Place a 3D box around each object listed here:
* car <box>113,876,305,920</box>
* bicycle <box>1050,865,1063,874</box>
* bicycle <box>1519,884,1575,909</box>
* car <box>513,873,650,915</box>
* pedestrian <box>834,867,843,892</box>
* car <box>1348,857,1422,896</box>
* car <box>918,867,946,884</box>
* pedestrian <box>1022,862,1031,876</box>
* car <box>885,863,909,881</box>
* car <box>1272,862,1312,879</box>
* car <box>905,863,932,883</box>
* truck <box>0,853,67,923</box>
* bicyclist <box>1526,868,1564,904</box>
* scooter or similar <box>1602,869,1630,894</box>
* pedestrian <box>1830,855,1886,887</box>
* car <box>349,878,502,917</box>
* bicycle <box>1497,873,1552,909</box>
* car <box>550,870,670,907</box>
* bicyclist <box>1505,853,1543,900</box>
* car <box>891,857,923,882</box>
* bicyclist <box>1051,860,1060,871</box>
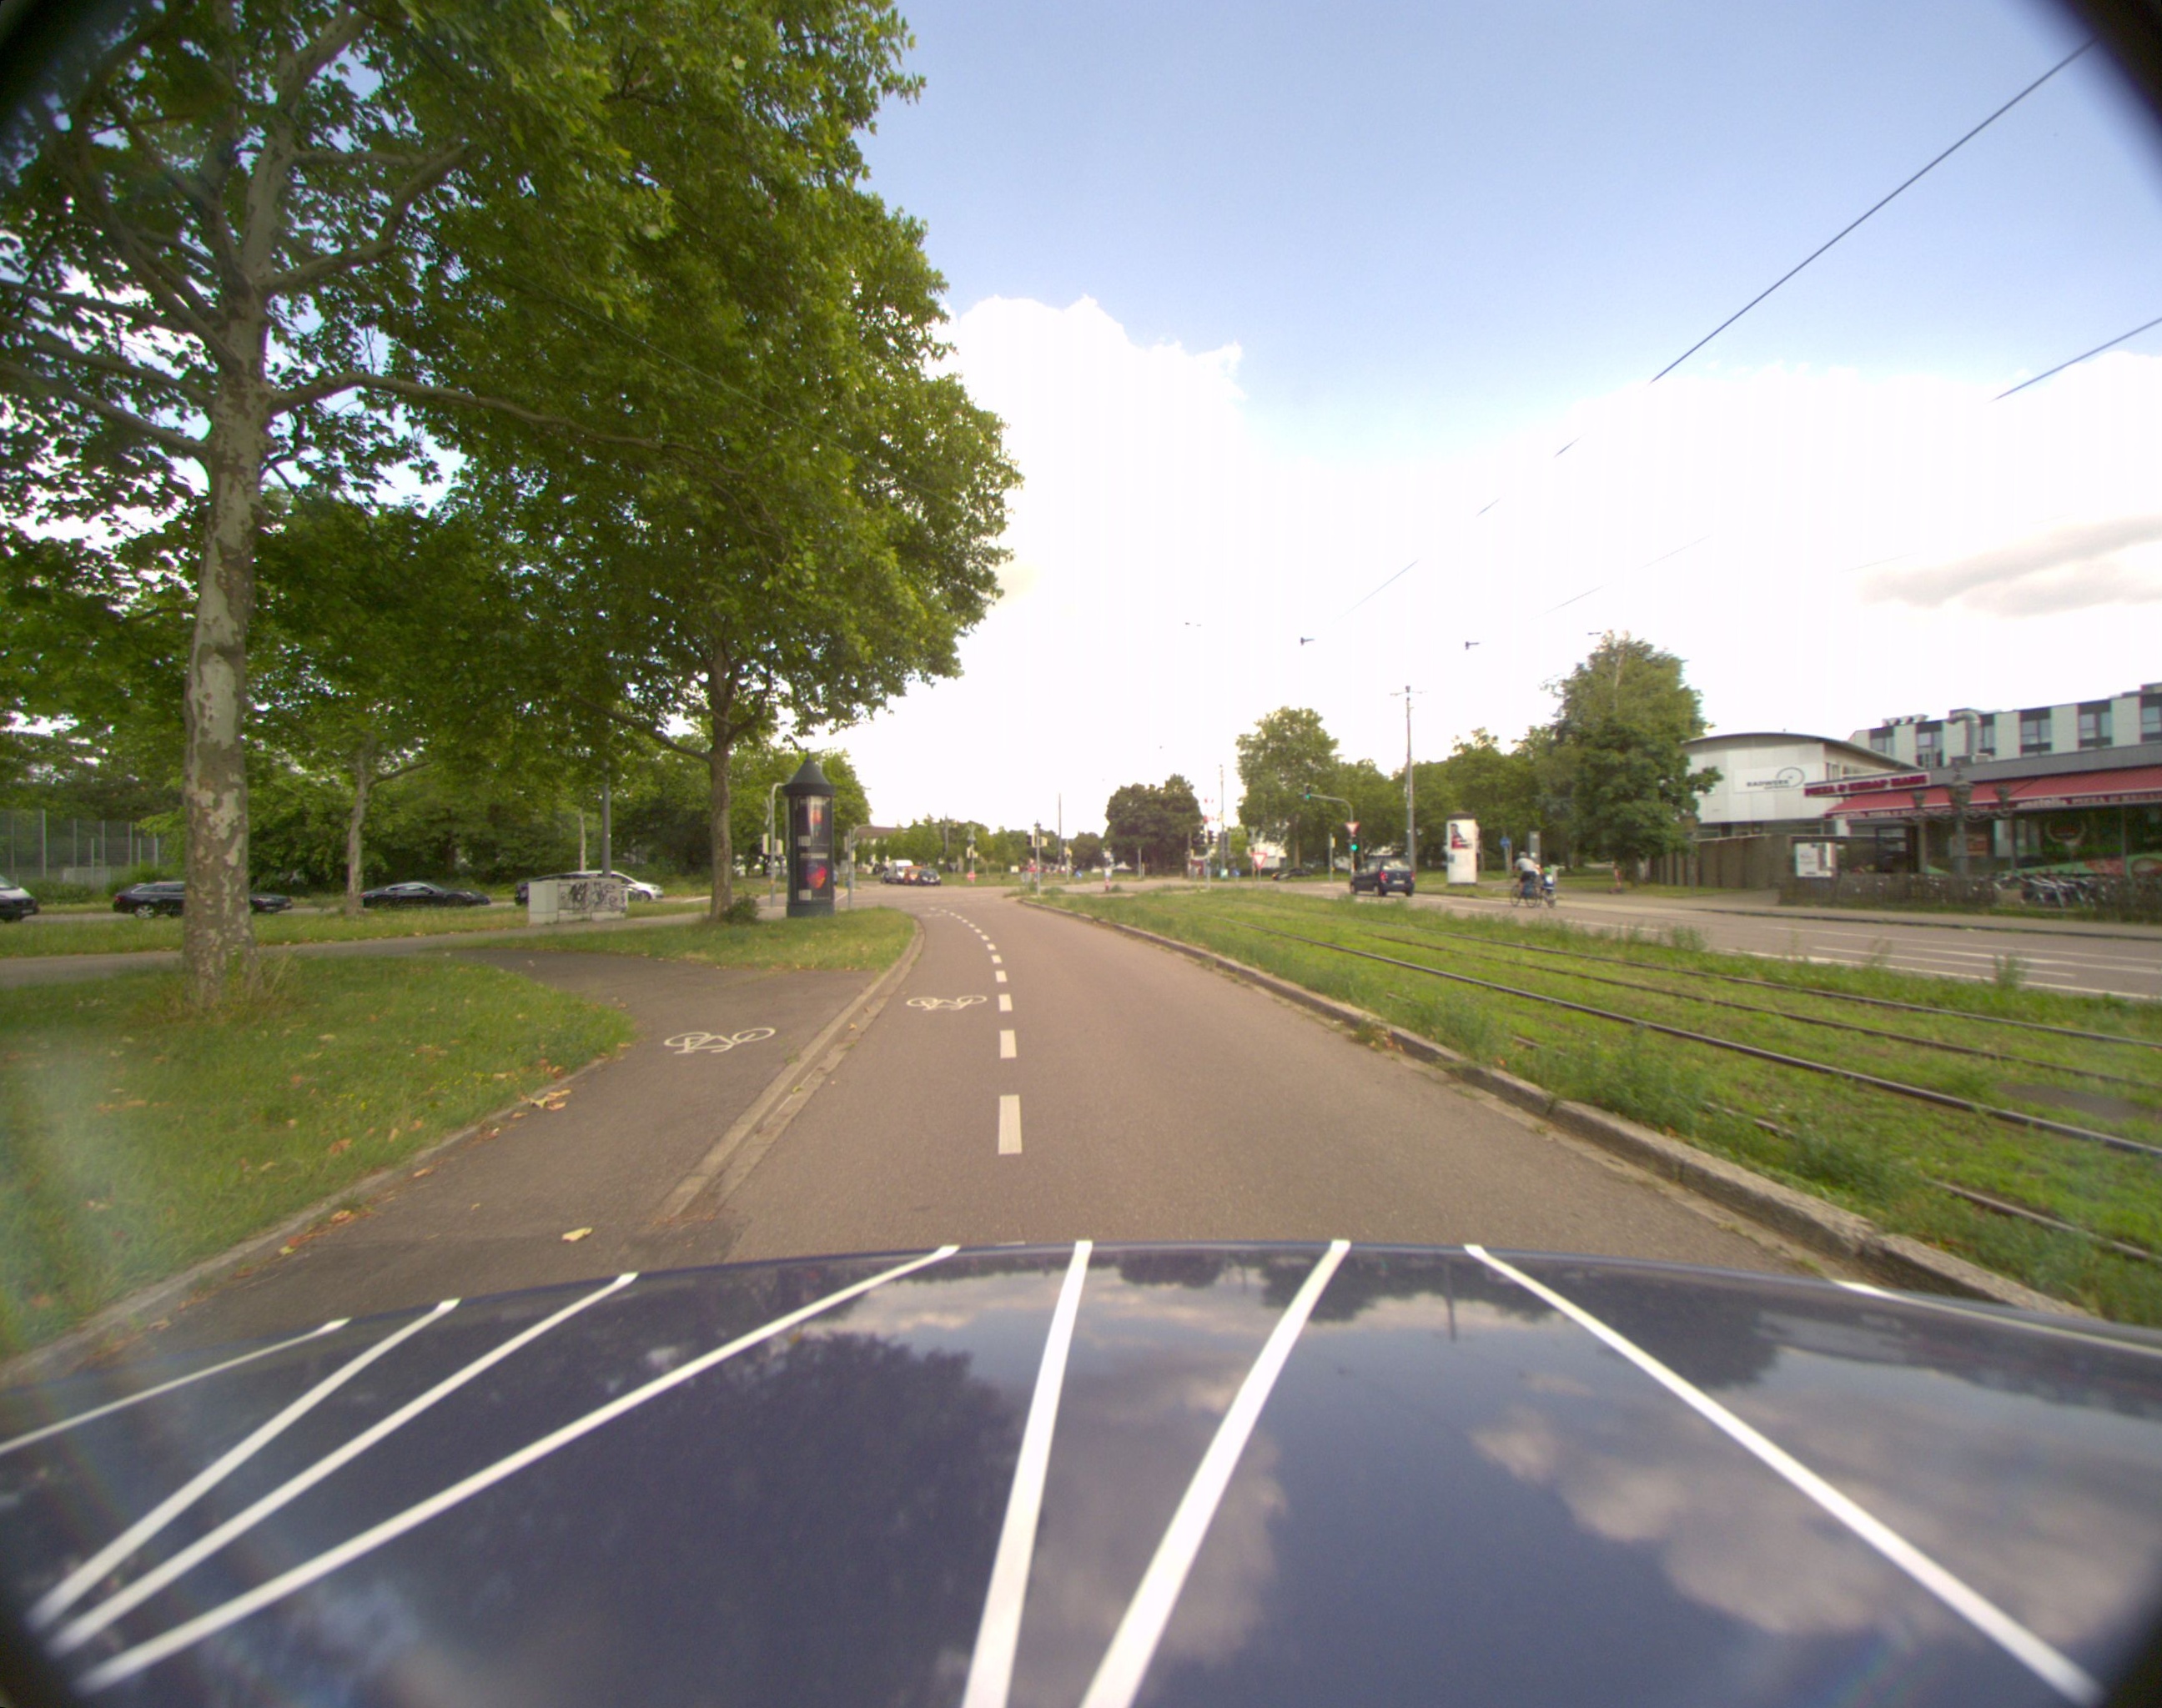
[{"bbox_3d":[-35.329,1.736,30.989,4.693,1.504,1.996,-1,0,-25],"label":"car"},{"bbox_3d":[-3.210,2.007,99.118,0.806,1.053,2.065,-1,-2,-29],"label":"bicycle"},{"bbox_3d":[14.842,1.346,24.276,0.647,0.713,1.805,-1,0,-1],"label":"bicycle"},{"bbox_3d":[-21.643,1.698,33.168,4.692,1.601,1.996,-1,0,-24],"label":"car"},{"bbox_3d":[-14.808,1.541,46.427,0.420,1.499,0.450,-1,0,-25],"label":"pedestrian"},{"bbox_3d":[13.344,0.951,33.575,1.783,1.617,3.495,-1,0,-2],"label":"car"},{"bbox_3d":[-13.807,1.979,70.281,1.798,1.530,3.993,-2,0,-23],"label":"car"},{"bbox_3d":[-7.671,2.084,106.022,0.909,1.856,1.000,-1,0,-26],"label":"pedestrian"},{"bbox_3d":[-21.109,2.052,87.112,1.798,1.924,4.360,-2,0,-24],"label":"car"},{"bbox_3d":[20.498,1.590,73.692,3.864,1.514,1.695,-1,0,-36],"label":"car"},{"bbox_3d":[-16.248,1.882,75.861,1.798,1.924,4.360,-2,0,-23],"label":"car"},{"bbox_3d":[-42.990,1.316,27.978,6.516,2.580,2.212,-1,0,-24],"label":"truck"},{"bbox_3d":[14.843,1.011,24.308,0.641,1.106,0.928,-1,0,-1],"label":"bicyclist"},{"bbox_3d":[23.010,1.163,32.682,0.427,1.027,1.223,-1,0,6],"label":"scooter or similar"},{"bbox_3d":[28.919,0.624,28.296,1.156,1.139,0.932,-1,0,-3],"label":"pedestrian"},{"bbox_3d":[-28.912,1.882,33.725,4.755,1.461,1.996,-1,0,-25],"label":"car"},{"bbox_3d":[14.119,1.159,24.254,0.647,1.073,1.805,-1,0,-1],"label":"bicycle"},{"bbox_3d":[-22.736,1.623,36.892,4.693,1.601,1.996,-1,0,-25],"label":"car"},{"bbox_3d":[14.120,0.707,24.225,0.625,1.449,0.928,-1,0,-2],"label":"bicyclist"},{"bbox_3d":[-18.773,1.688,81.890,2.243,2.492,5.715,-2,0,-24],"label":"car"},{"bbox_3d":[-3.327,1.486,99.299,0.806,1.461,0.830,-1,-2,-29],"label":"bicyclist"}]
